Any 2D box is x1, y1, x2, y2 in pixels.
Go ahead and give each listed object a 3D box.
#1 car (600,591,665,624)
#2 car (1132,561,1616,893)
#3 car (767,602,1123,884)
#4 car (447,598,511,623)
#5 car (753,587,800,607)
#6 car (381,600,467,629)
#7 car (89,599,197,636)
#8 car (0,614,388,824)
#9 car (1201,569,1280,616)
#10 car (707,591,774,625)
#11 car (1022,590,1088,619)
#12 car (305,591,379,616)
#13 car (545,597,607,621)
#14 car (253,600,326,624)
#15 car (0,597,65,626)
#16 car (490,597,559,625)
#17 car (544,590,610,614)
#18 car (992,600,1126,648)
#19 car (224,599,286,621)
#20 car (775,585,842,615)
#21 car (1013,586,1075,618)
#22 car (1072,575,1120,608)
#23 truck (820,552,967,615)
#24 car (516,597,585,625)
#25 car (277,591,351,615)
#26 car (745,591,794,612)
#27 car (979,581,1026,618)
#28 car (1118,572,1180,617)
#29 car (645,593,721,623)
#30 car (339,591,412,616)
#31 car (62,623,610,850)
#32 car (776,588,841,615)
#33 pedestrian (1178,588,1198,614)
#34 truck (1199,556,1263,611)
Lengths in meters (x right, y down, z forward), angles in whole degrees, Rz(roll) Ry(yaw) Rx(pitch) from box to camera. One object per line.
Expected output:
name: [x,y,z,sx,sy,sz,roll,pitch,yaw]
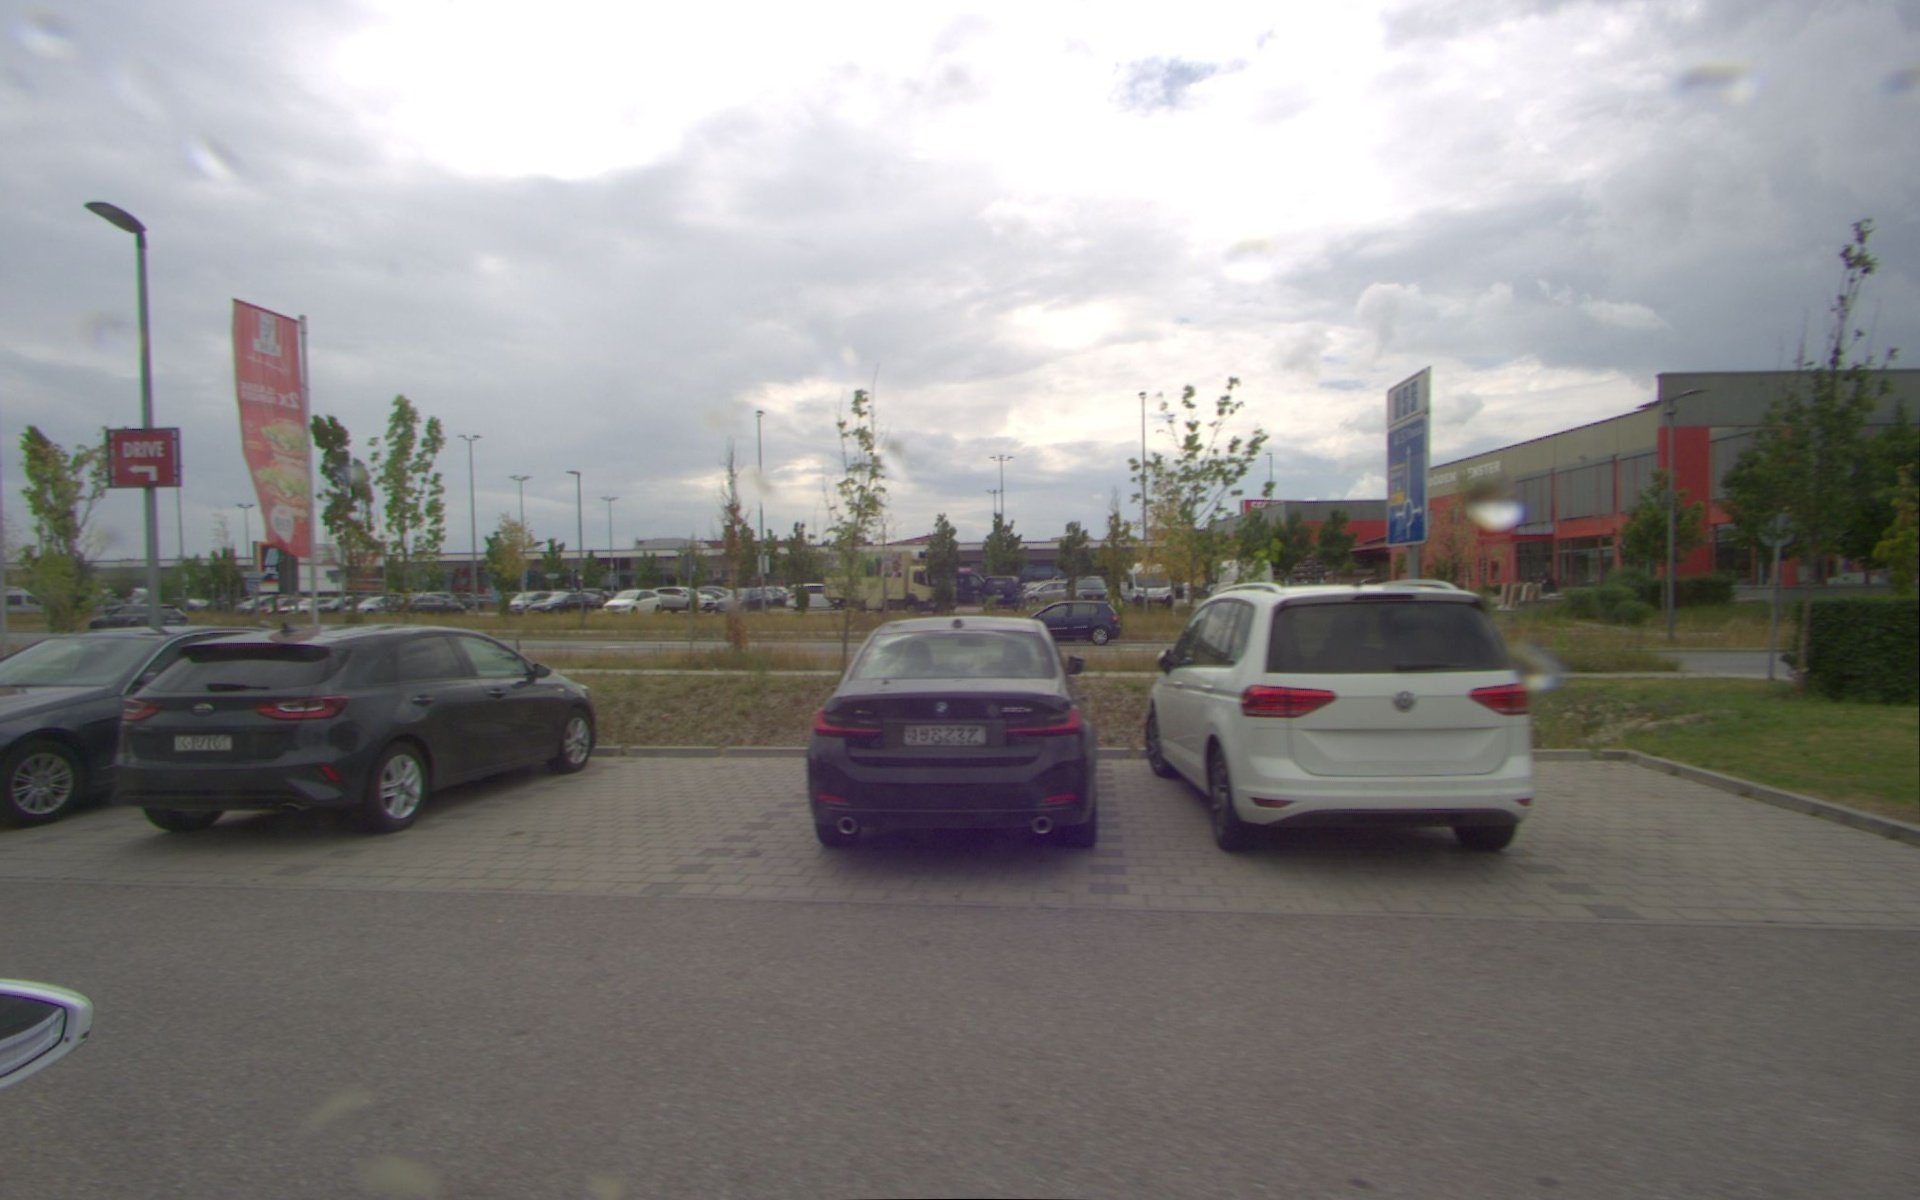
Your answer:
car: [-19.146,0.399,58.744,1.961,1.796,4.318,0,1,7]
car: [2.548,0.735,7.478,1.953,1.735,4.374,0,-2,2]
car: [0.083,0.830,7.613,1.909,1.485,4.518,0,-2,4]
car: [-38.204,0.810,79.571,4.105,1.863,1.999,0,2,5]
car: [-17.981,-0.275,98.401,4.105,1.863,1.999,0,2,5]
car: [-32.022,0.831,59.956,1.967,1.560,4.145,0,2,25]
car: [-36.627,0.765,44.901,4.774,1.573,1.795,0,2,25]
car: [-7.593,0.925,9.091,1.874,1.475,4.744,-1,-2,3]
car: [14.492,-0.449,52.197,2.300,2.299,6.502,-1,1,0]
car: [-12.311,0.425,56.528,1.896,1.796,4.314,0,2,15]
car: [6.053,0.276,64.051,3.922,1.762,1.890,-1,2,-3]
car: [-41.665,0.209,67.653,1.962,1.560,4.049,0,2,12]
car: [-30.498,0.706,79.663,4.105,1.863,1.999,0,2,5]
car: [-47.009,0.828,70.261,1.872,1.560,4.049,0,2,12]
car: [-74.790,0.888,79.172,2.300,2.151,5.581,0,2,21]
car: [-26.677,0.654,61.506,1.739,1.560,4.048,0,2,15]
car: [-26.923,0.116,70.477,1.967,1.560,4.145,0,2,25]
car: [3.373,0.777,33.717,4.337,1.506,1.928,0,2,11]
car: [-63.714,0.878,90.514,4.105,1.863,1.999,0,2,0]
car: [-9.585,-0.030,63.296,3.930,1.796,1.995,-1,2,-18]
car: [5.708,0.125,68.063,3.923,2.041,1.999,-1,2,-5]
car: [7.101,-0.474,52.797,2.037,1.661,5.067,0,1,2]
truck: [-3.766,-0.895,54.889,8.332,3.240,3.004,1,2,41]
car: [-24.638,0.655,60.363,1.739,1.560,4.048,0,2,15]
car: [-44.594,0.179,69.215,1.831,1.522,4.066,0,2,16]
car: [-17.720,0.148,93.214,4.105,1.863,1.999,0,2,5]
car: [2.359,-0.012,53.806,2.038,1.909,5.068,0,0,8]
car: [9.845,-0.349,52.650,2.369,2.244,6.056,0,1,2]
car: [-17.421,0.485,63.050,4.241,1.796,1.919,0,2,14]
car: [-38.892,0.195,66.751,1.962,1.560,4.049,0,2,12]
car: [-4.709,0.930,8.424,1.852,1.430,4.072,0,-2,4]
car: [-10.786,0.087,71.484,4.237,1.796,1.999,-1,2,3]
pedestrian: [13.099,0.051,57.506,0.959,1.449,0.787,-1,2,3]
truck: [19.626,-1.222,72.906,2.605,3.794,8.251,-1,2,1]
